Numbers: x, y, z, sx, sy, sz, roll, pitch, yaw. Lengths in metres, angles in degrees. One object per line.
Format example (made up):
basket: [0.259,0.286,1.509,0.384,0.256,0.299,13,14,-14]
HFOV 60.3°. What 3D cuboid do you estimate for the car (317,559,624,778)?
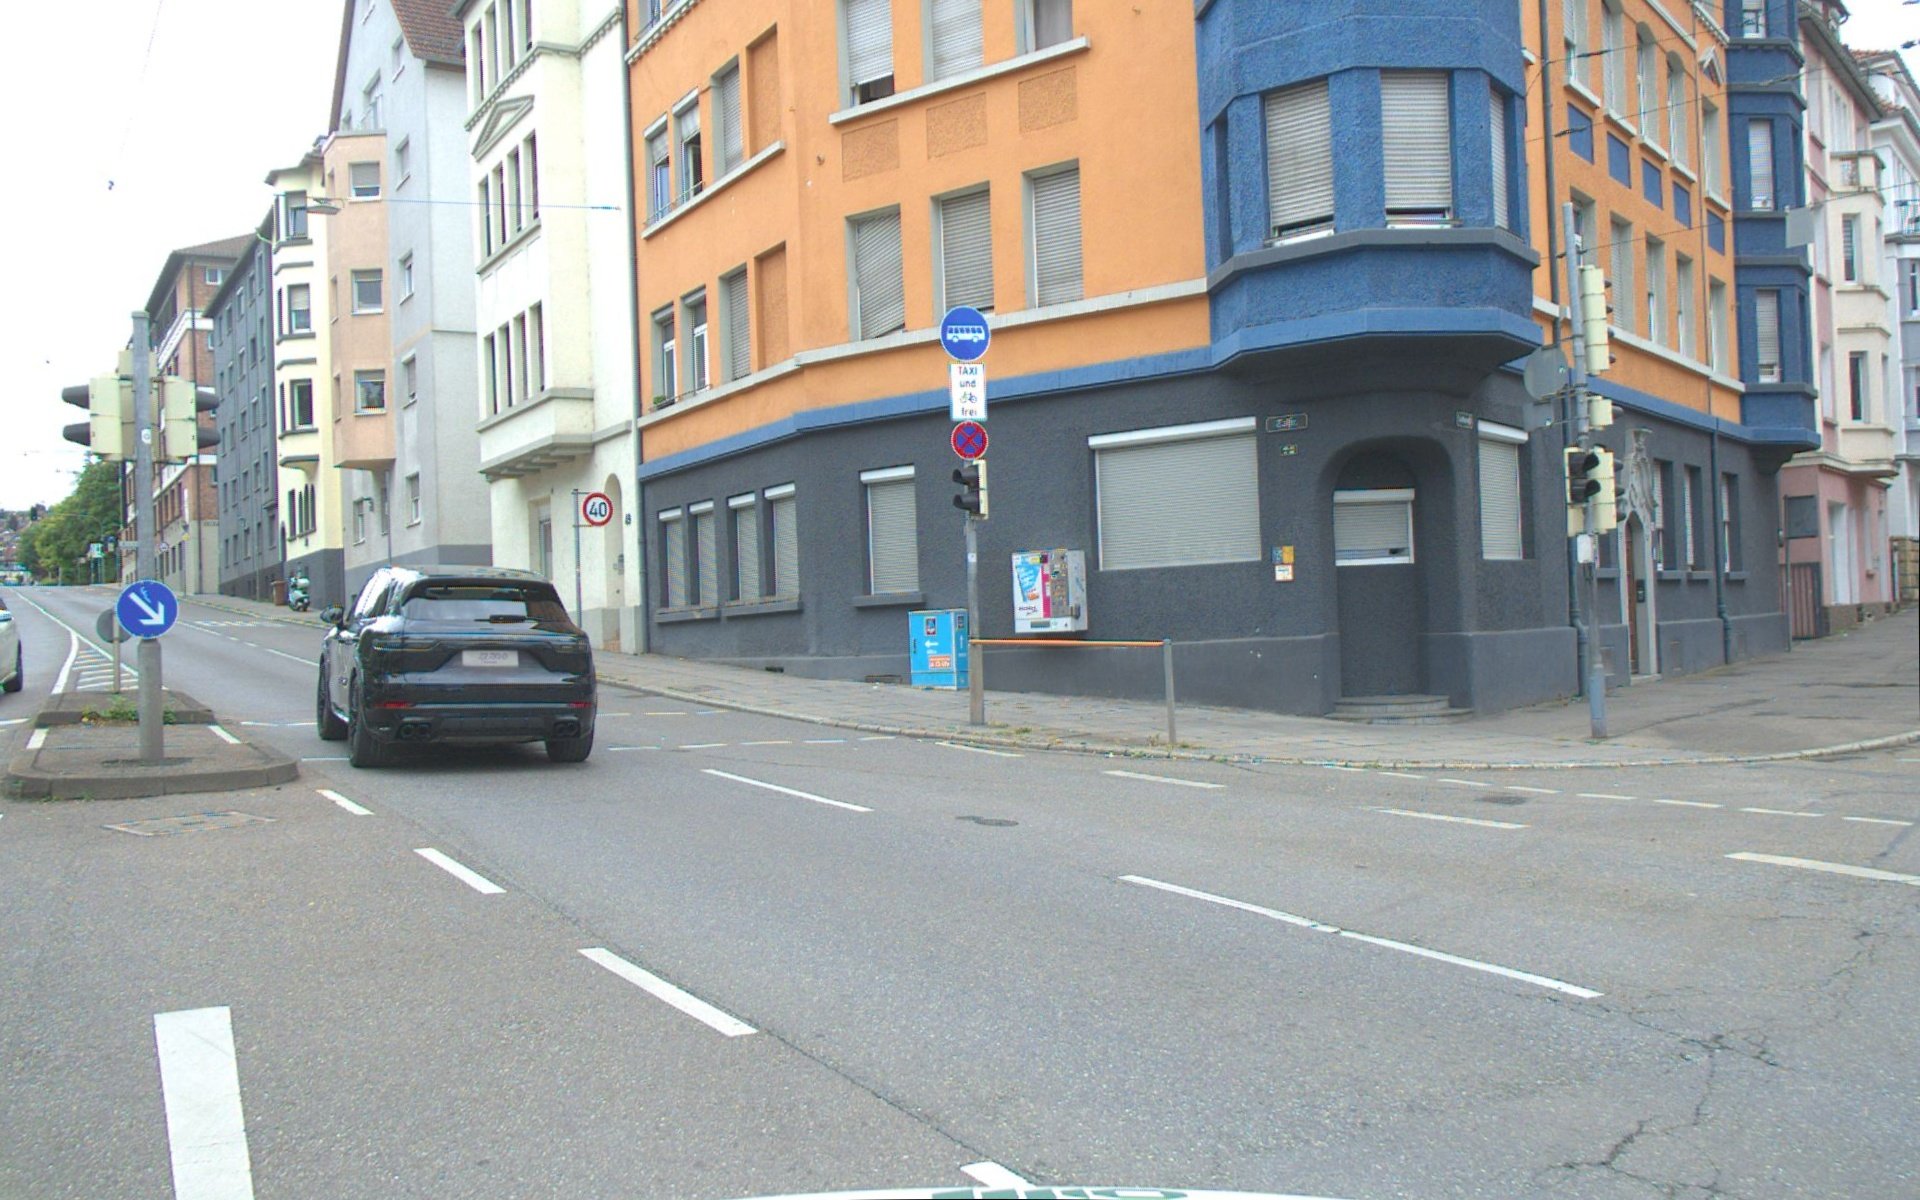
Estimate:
car: [-4.589,0.516,15.024,1.999,1.670,4.320,1,0,-26]

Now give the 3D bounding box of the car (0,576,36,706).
car: [-13.237,0.541,21.340,1.752,1.573,4.294,-4,3,-23]

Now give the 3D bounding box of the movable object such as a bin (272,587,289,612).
movable object such as a bin: [-26.433,-0.023,64.334,0.470,0.907,0.511,-4,3,-32]

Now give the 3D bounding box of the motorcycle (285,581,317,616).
motorcycle: [-23.178,-0.072,58.172,0.533,1.175,2.200,-4,3,-33]

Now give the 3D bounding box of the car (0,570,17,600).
car: [-49.210,-0.751,84.350,1.821,1.473,4.266,-3,2,-31]
